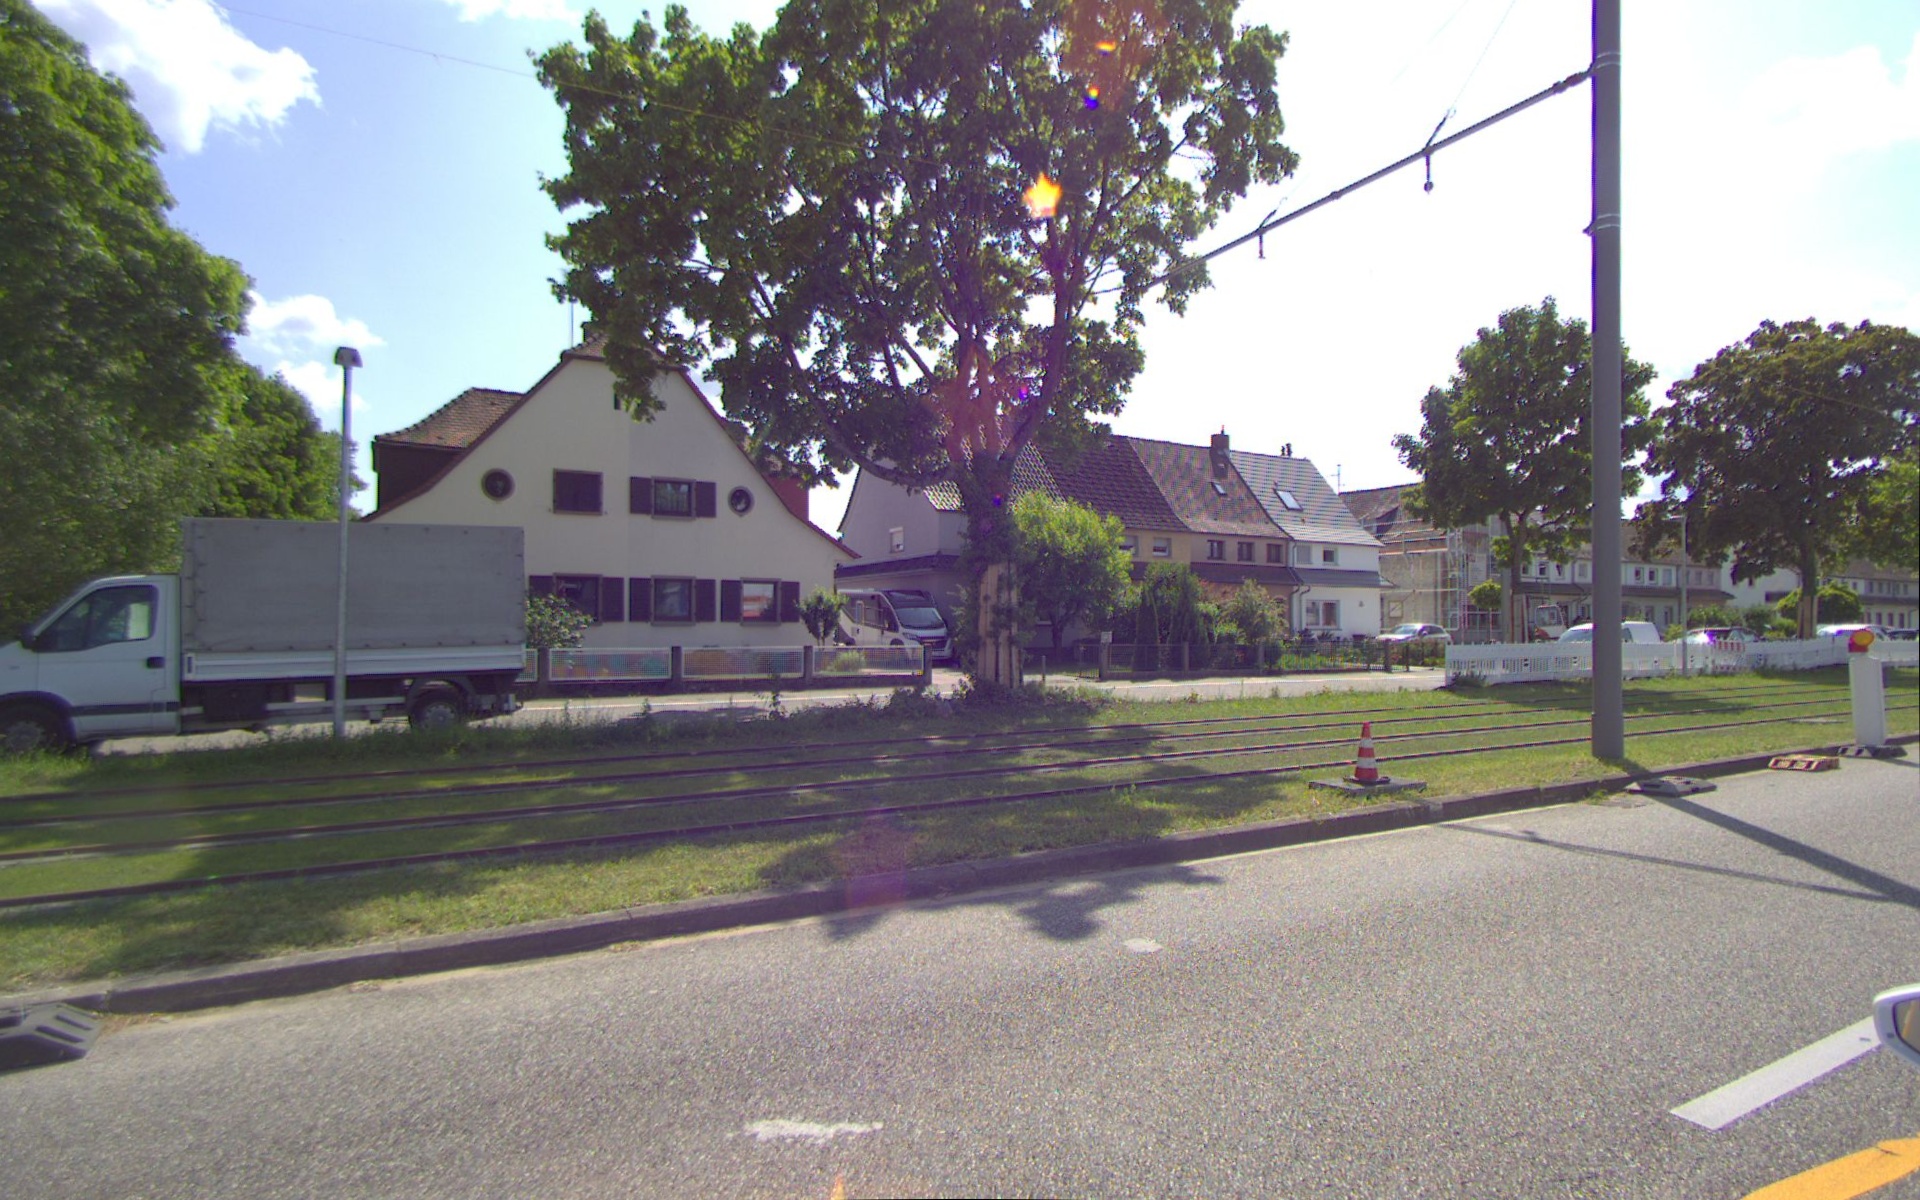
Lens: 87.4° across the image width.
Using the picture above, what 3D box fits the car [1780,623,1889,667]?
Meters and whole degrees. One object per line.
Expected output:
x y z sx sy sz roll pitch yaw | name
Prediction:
33.750 1.751 38.756 3.953 1.627 1.984 2 -3 -30 | car

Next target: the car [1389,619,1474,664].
18.847 1.677 40.161 2.995 1.744 1.677 2 -3 -30 | car

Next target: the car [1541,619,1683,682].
19.538 1.500 30.088 3.953 1.773 1.984 2 -3 -30 | car

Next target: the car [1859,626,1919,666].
40.245 1.945 42.615 3.953 1.627 1.984 2 -3 -30 | car

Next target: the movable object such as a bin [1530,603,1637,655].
30.869 1.436 49.784 4.283 2.482 1.781 -1 -2 39 | movable object such as a bin

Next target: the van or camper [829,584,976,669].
-2.229 0.859 36.672 2.672 2.675 6.055 1 2 -33 | van or camper

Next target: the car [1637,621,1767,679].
24.217 1.636 32.773 3.953 1.773 1.984 2 -3 -30 | car

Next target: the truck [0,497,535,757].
-8.902 0.382 12.851 6.203 2.803 1.985 1 -4 -31 | truck

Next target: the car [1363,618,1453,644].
19.844 1.386 44.458 3.934 1.066 1.677 2 -3 -30 | car
